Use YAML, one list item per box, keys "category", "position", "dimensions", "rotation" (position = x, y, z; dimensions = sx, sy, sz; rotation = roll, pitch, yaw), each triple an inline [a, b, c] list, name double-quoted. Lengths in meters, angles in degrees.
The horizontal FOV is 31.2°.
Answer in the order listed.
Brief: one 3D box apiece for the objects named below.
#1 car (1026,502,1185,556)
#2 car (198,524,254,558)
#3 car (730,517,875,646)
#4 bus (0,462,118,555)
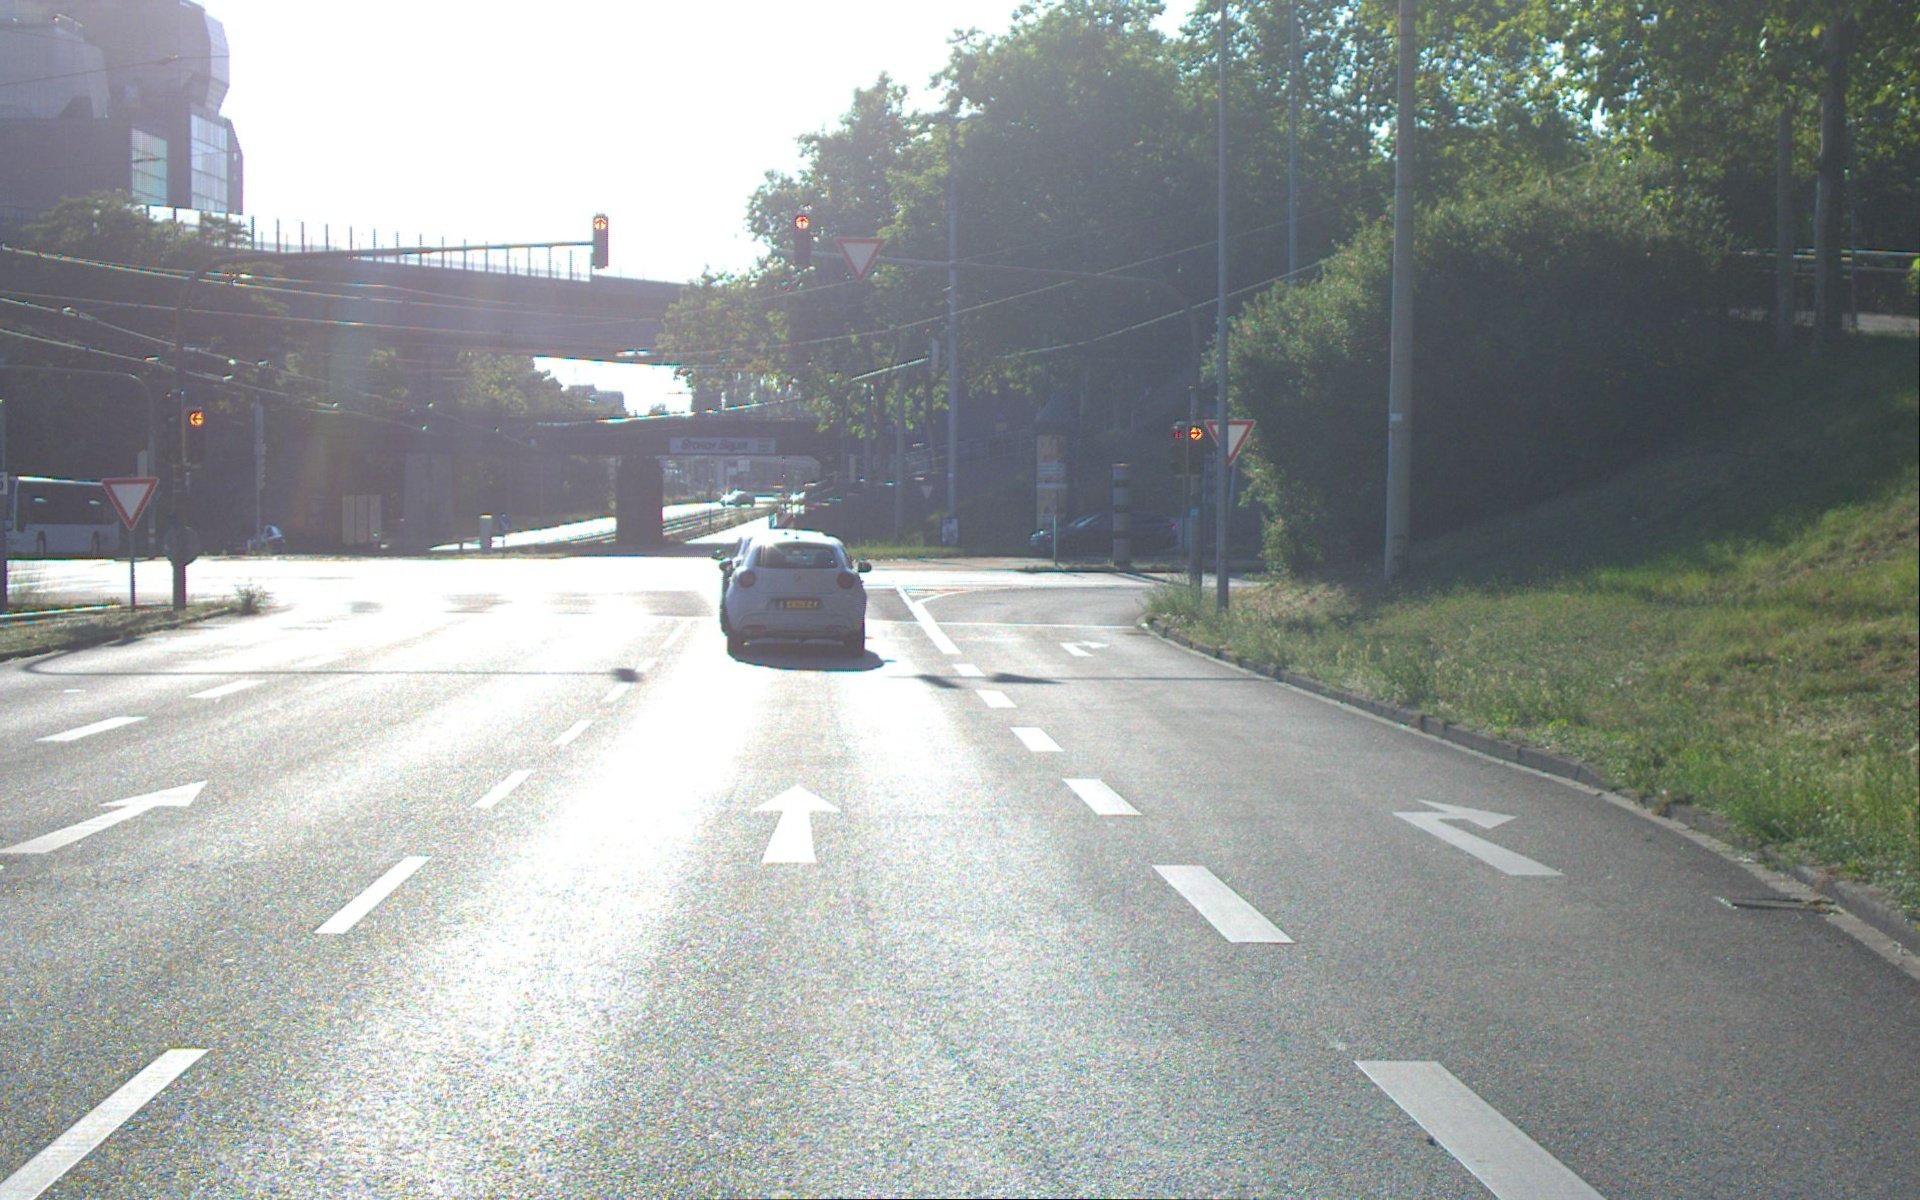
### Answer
- category: "car"
  position: [4.492, -2.186, 106.086]
  dimensions: [4.574, 1.569, 1.694]
  rotation: [1, 2, -19]
- category: "car"
  position: [-32.316, -2.615, 151.467]
  dimensions: [1.606, 1.414, 4.008]
  rotation: [1, 2, 0]
- category: "car"
  position: [-2.009, -0.271, 43.289]
  dimensions: [1.736, 1.500, 4.001]
  rotation: [0, 2, -3]
- category: "bus"
  position: [-33.113, -3.190, 123.330]
  dimensions: [2.543, 3.119, 12.918]
  rotation: [0, 0, 1]
